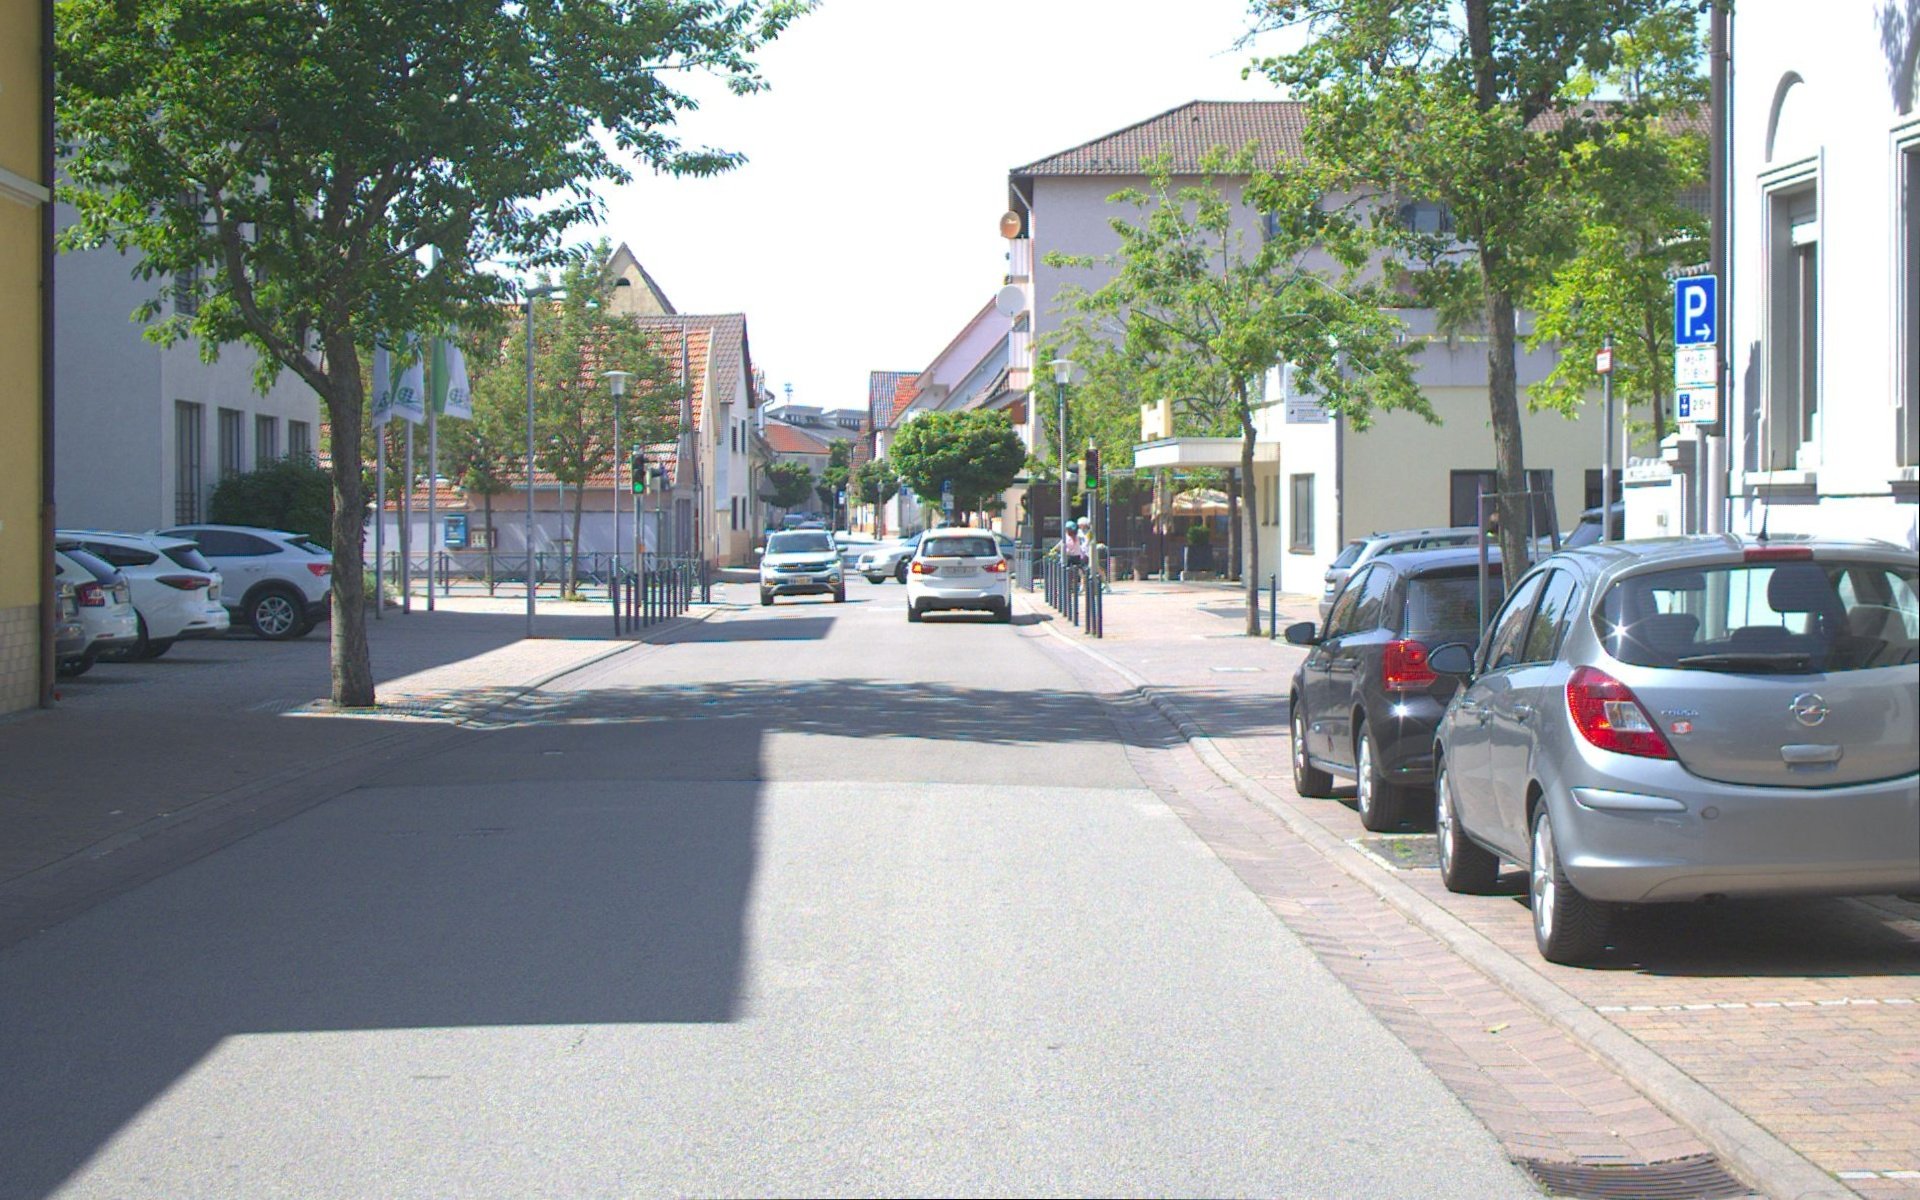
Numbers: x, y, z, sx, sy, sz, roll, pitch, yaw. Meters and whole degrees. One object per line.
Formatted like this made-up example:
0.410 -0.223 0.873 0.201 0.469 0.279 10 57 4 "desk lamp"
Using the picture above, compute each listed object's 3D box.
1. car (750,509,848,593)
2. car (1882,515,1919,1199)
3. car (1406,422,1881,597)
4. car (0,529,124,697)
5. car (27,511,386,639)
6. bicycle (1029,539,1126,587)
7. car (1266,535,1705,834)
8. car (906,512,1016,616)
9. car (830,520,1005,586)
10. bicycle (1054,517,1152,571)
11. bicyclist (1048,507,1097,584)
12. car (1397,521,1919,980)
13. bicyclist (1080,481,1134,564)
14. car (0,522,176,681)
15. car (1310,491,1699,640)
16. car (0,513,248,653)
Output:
-3.377 -1.062 72.772 1.851 1.568 4.001 -3 3 -1 "car"
2.929 0.593 5.601 1.737 1.508 3.736 -2 2 -1 "car"
7.256 -0.983 36.692 4.535 1.435 1.840 -5 3 -6 "car"
-9.957 0.149 31.856 3.986 1.426 1.973 -2 3 -5 "car"
-10.413 -0.367 47.772 4.506 1.548 2.148 -2 2 -2 "car"
2.415 -0.762 70.719 1.889 0.954 0.676 -1 1 -26 "bicycle"
2.768 0.380 18.922 1.703 1.476 3.922 0 1 -2 "car"
0.010 -0.656 60.117 1.834 1.646 4.001 -1 3 0 "car"
-1.121 -1.259 91.659 4.424 1.459 1.886 -5 3 -40 "car"
2.993 -1.170 72.073 1.890 0.954 0.676 -7 3 -27 "bicycle"
2.312 -1.124 70.654 0.759 1.576 0.671 -1 1 -26 "bicyclist"
2.808 0.449 13.320 1.717 1.476 4.096 -1 1 0 "car"
3.083 -1.623 72.112 0.759 1.658 0.671 -7 3 -28 "bicyclist"
-10.042 0.042 34.356 3.986 1.446 1.808 -2 3 -2 "car"
7.082 -0.478 44.980 4.575 1.507 1.917 -5 2 -6 "car"
-10.603 -0.216 39.396 4.503 1.549 1.935 0 2 -1 "car"
